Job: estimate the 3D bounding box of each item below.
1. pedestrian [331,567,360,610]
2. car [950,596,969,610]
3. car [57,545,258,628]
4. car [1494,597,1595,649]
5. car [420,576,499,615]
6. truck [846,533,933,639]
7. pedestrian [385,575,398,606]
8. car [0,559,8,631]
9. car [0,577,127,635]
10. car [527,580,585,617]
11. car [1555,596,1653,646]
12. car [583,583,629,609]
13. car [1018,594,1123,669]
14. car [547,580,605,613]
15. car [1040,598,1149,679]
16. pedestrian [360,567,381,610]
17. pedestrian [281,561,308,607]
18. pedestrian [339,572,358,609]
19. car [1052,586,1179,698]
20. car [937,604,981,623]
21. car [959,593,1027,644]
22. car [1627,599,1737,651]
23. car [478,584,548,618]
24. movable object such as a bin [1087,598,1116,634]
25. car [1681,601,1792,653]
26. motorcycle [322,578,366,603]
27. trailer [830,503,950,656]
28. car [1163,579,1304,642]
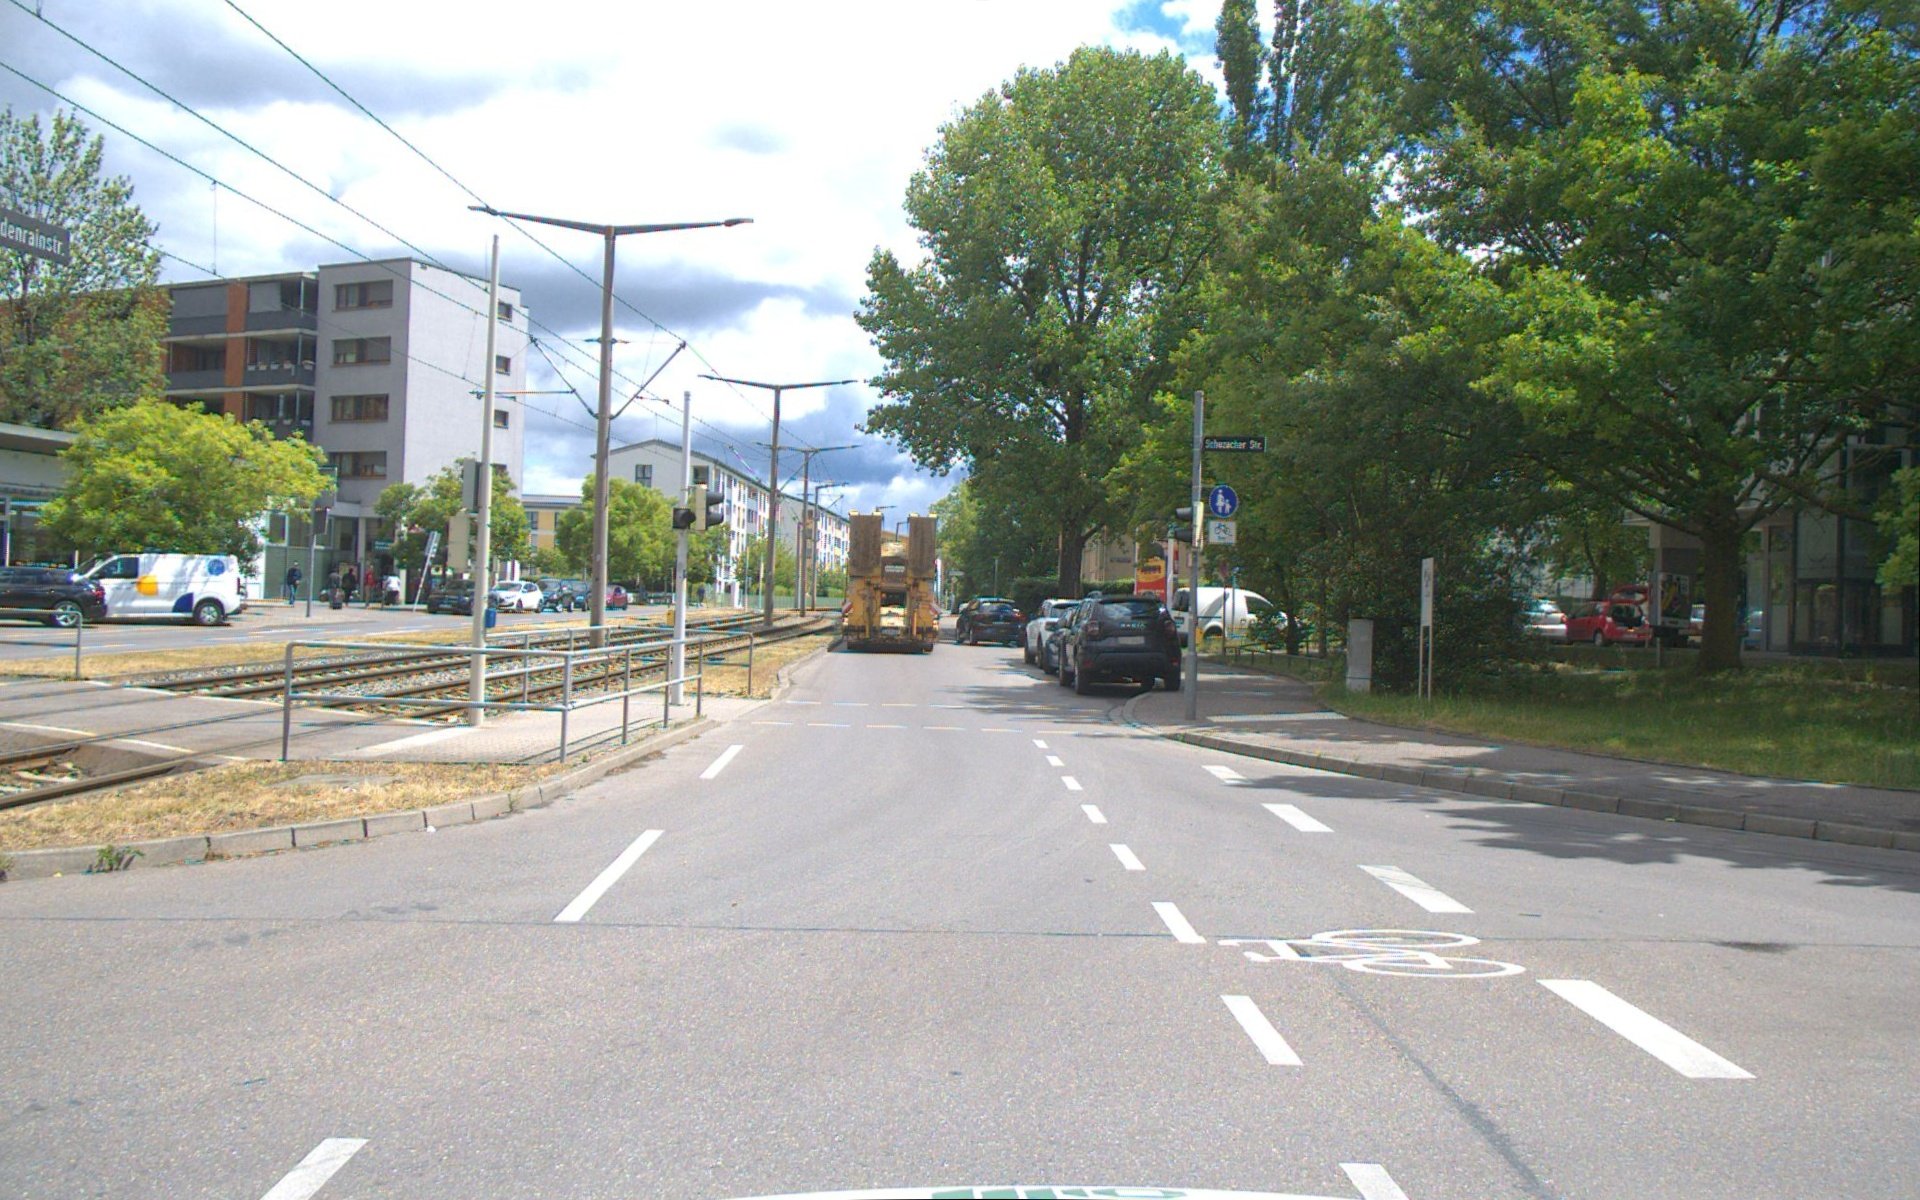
[{"bbox_3d":[-24.721,-0.457,66.552,0.823,1.678,0.613,2,0,20],"label":"pedestrian"},{"bbox_3d":[-0.053,0.290,165.540,1.953,1.411,4.000,1,1,0],"label":"car"},{"bbox_3d":[-22.247,-0.366,45.980,4.721,2.194,1.877,0,1,-42],"label":"car"},{"bbox_3d":[18.509,0.696,52.554,1.900,1.516,4.001,1,1,2],"label":"car"},{"bbox_3d":[-20.792,-0.180,68.841,1.699,1.453,4.382,4,0,2],"label":"car"},{"bbox_3d":[-2.404,-0.508,56.960,2.777,3.388,7.981,1,1,-2],"label":"truck"},{"bbox_3d":[-27.028,-0.446,78.658,0.491,1.485,0.555,0,1,-28],"label":"pedestrian"},{"bbox_3d":[-24.108,-0.121,37.563,1.874,1.660,3.973,1,1,44],"label":"car"},{"bbox_3d":[-23.383,0.135,41.682,3.966,1.407,1.878,0,1,-42],"label":"car"},{"bbox_3d":[-19.948,-0.075,81.858,1.953,1.691,4.098,2,1,-2],"label":"car"},{"bbox_3d":[20.739,0.643,53.435,1.707,1.468,4.001,1,1,2],"label":"car"},{"bbox_3d":[-20.364,-0.245,95.223,1.579,1.451,3.425,1,1,6],"label":"car"},{"bbox_3d":[2.499,0.690,38.589,1.749,1.592,4.565,1,1,-5],"label":"car"},{"bbox_3d":[-20.480,-0.213,88.399,1.952,1.676,4.101,1,1,3],"label":"car"},{"bbox_3d":[2.688,0.736,33.847,1.611,1.483,4.073,1,1,-4],"label":"car"},{"bbox_3d":[-25.104,-0.493,70.432,0.598,1.824,0.843,1,0,-1],"label":"pedestrian"},{"bbox_3d":[-26.736,-0.636,66.461,0.834,1.824,0.863,0,1,-36],"label":"pedestrian"},{"bbox_3d":[-26.425,-0.412,71.476,0.656,1.601,0.682,0,1,-28],"label":"pedestrian"},{"bbox_3d":[2.674,0.676,29.343,1.611,1.793,4.567,1,1,-3],"label":"car"},{"bbox_3d":[-0.098,1.200,146.895,3.521,1.612,2.002,1,-1,12],"label":"car"},{"bbox_3d":[0.989,0.545,51.582,1.779,1.474,3.823,1,1,-4],"label":"car"},{"bbox_3d":[23.012,0.769,52.857,1.708,1.496,4.000,1,1,-1],"label":"car"},{"bbox_3d":[-20.677,0.030,76.696,1.717,1.501,4.403,1,1,5],"label":"car"},{"bbox_3d":[5.774,0.643,67.551,1.076,1.464,0.761,1,0,-3],"label":"movable object such as a bin"},{"bbox_3d":[25.361,0.840,54.176,1.708,1.555,4.000,1,1,-1],"label":"car"},{"bbox_3d":[-29.657,-0.474,79.617,1.854,1.199,0.741,1,1,-3],"label":"motorcycle"},{"bbox_3d":[-1.975,-0.599,47.516,2.989,3.838,11.608,1,1,-2],"label":"trailer"},{"bbox_3d":[8.321,0.308,50.329,3.934,1.854,1.797,0,1,-24],"label":"car"}]
